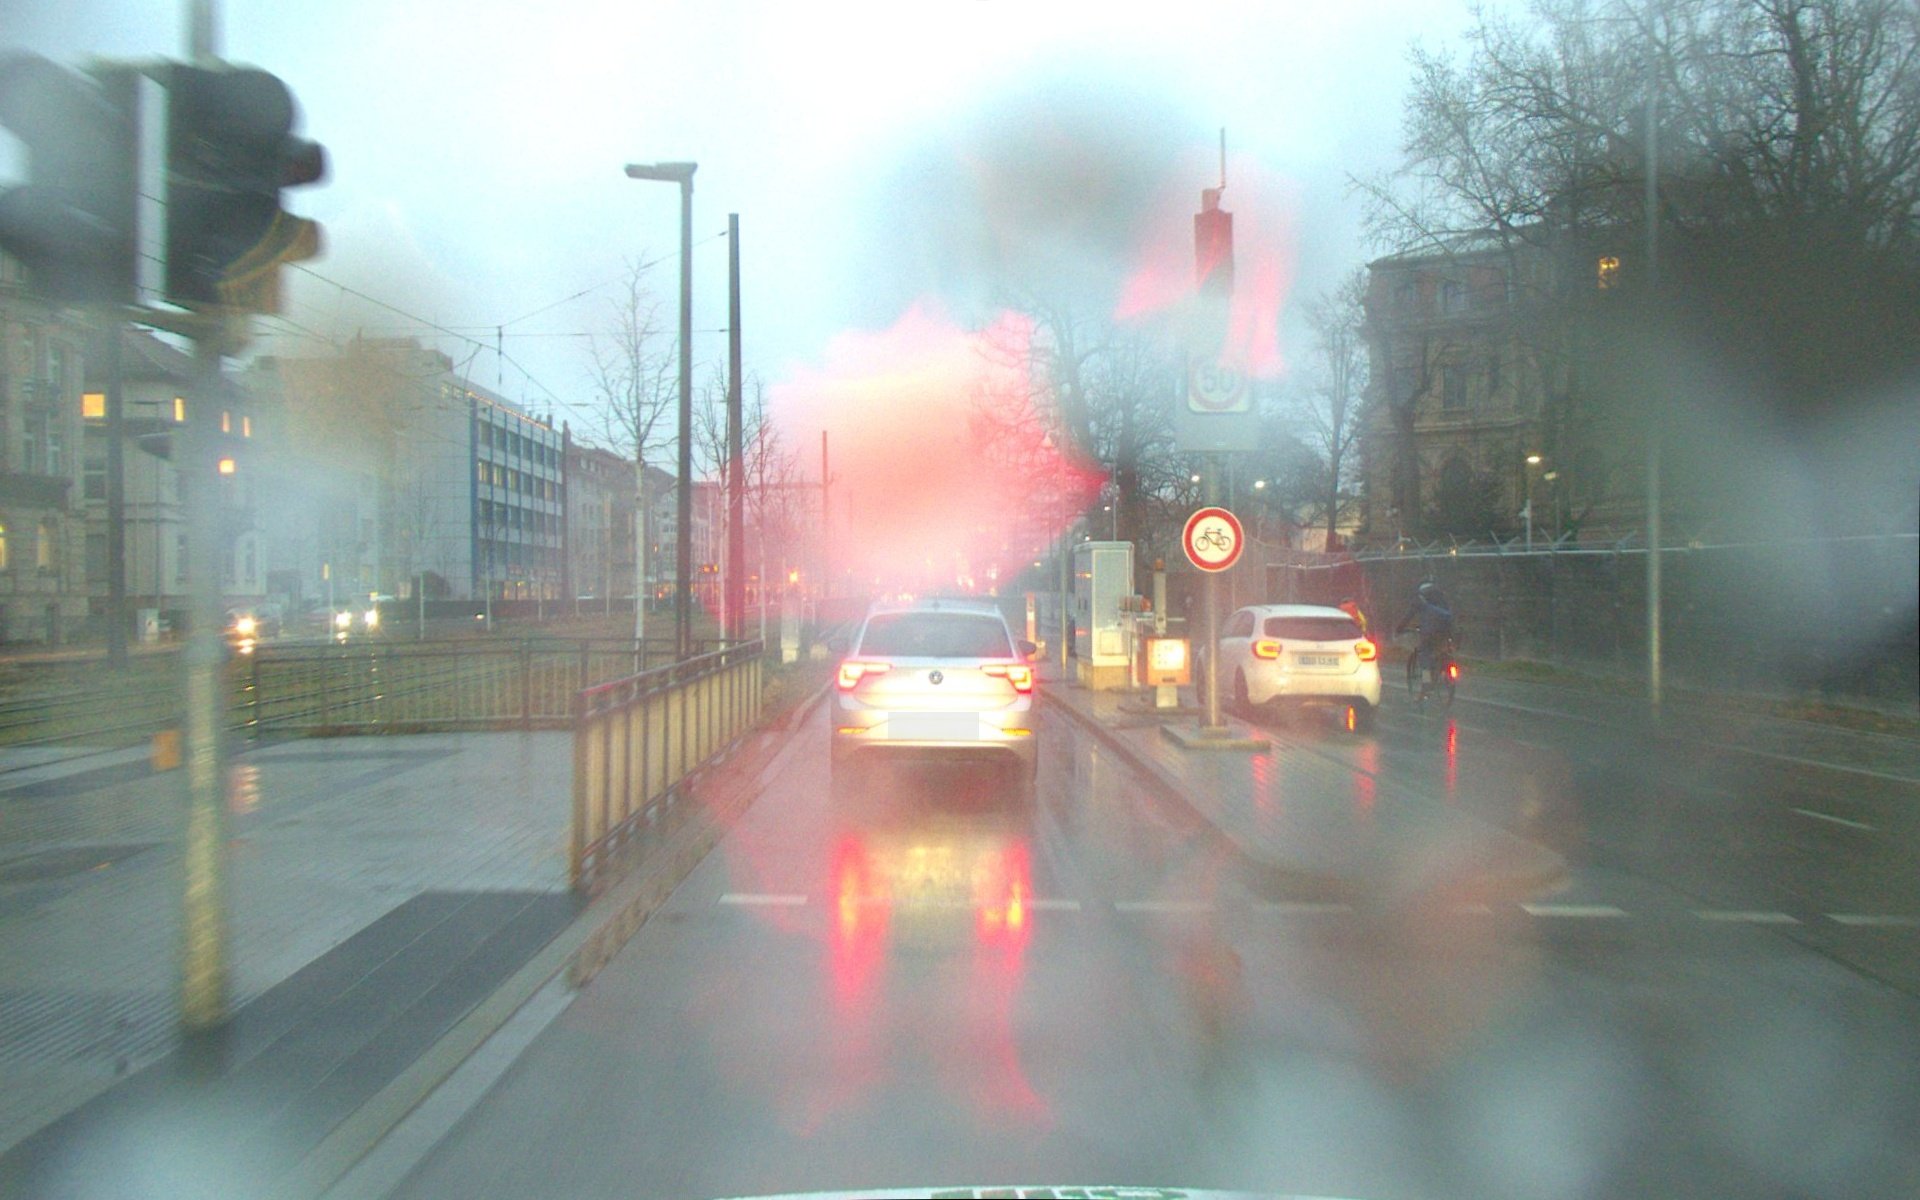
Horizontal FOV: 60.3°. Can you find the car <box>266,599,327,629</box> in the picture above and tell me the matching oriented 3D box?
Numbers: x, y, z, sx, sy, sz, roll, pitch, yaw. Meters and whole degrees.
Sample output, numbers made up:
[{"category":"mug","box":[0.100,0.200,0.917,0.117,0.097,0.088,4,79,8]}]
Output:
[{"category":"car","box":[-34.382,0.722,85.783,1.771,1.461,3.924,-1,1,-4]}]

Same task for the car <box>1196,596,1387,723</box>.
[{"category":"car","box":[4.317,0.733,22.123,1.687,1.505,3.999,1,0,-1]}]

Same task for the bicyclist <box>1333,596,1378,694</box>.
[{"category":"bicyclist","box":[6.644,0.746,27.803,0.490,1.619,0.836,-1,0,-4]}]

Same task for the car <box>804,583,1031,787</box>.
[{"category":"car","box":[-0.341,0.668,14.520,1.687,1.505,3.999,1,-1,-1]}]

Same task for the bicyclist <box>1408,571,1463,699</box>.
[{"category":"bicyclist","box":[6.810,0.487,23.724,0.490,1.798,0.836,-1,0,-4]}]

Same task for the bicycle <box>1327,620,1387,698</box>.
[{"category":"bicycle","box":[6.631,0.961,27.702,0.403,1.206,1.947,-1,0,-4]}]

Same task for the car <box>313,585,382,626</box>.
[{"category":"car","box":[-30.928,0.224,83.676,1.954,1.966,4.908,-1,1,-4]}]

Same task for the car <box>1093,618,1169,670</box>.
[{"category":"car","box":[4.647,1.173,45.317,1.590,1.322,3.999,1,0,-1]}]

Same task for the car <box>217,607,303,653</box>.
[{"category":"car","box":[-28.405,1.180,67.267,1.954,1.722,4.108,-1,1,-4]}]

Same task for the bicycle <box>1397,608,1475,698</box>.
[{"category":"bicycle","box":[6.790,0.729,23.683,0.403,1.206,2.027,-1,1,-4]}]

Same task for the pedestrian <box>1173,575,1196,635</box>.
[{"category":"pedestrian","box":[7.231,0.146,53.261,0.521,1.912,0.900,-1,0,-4]}]
